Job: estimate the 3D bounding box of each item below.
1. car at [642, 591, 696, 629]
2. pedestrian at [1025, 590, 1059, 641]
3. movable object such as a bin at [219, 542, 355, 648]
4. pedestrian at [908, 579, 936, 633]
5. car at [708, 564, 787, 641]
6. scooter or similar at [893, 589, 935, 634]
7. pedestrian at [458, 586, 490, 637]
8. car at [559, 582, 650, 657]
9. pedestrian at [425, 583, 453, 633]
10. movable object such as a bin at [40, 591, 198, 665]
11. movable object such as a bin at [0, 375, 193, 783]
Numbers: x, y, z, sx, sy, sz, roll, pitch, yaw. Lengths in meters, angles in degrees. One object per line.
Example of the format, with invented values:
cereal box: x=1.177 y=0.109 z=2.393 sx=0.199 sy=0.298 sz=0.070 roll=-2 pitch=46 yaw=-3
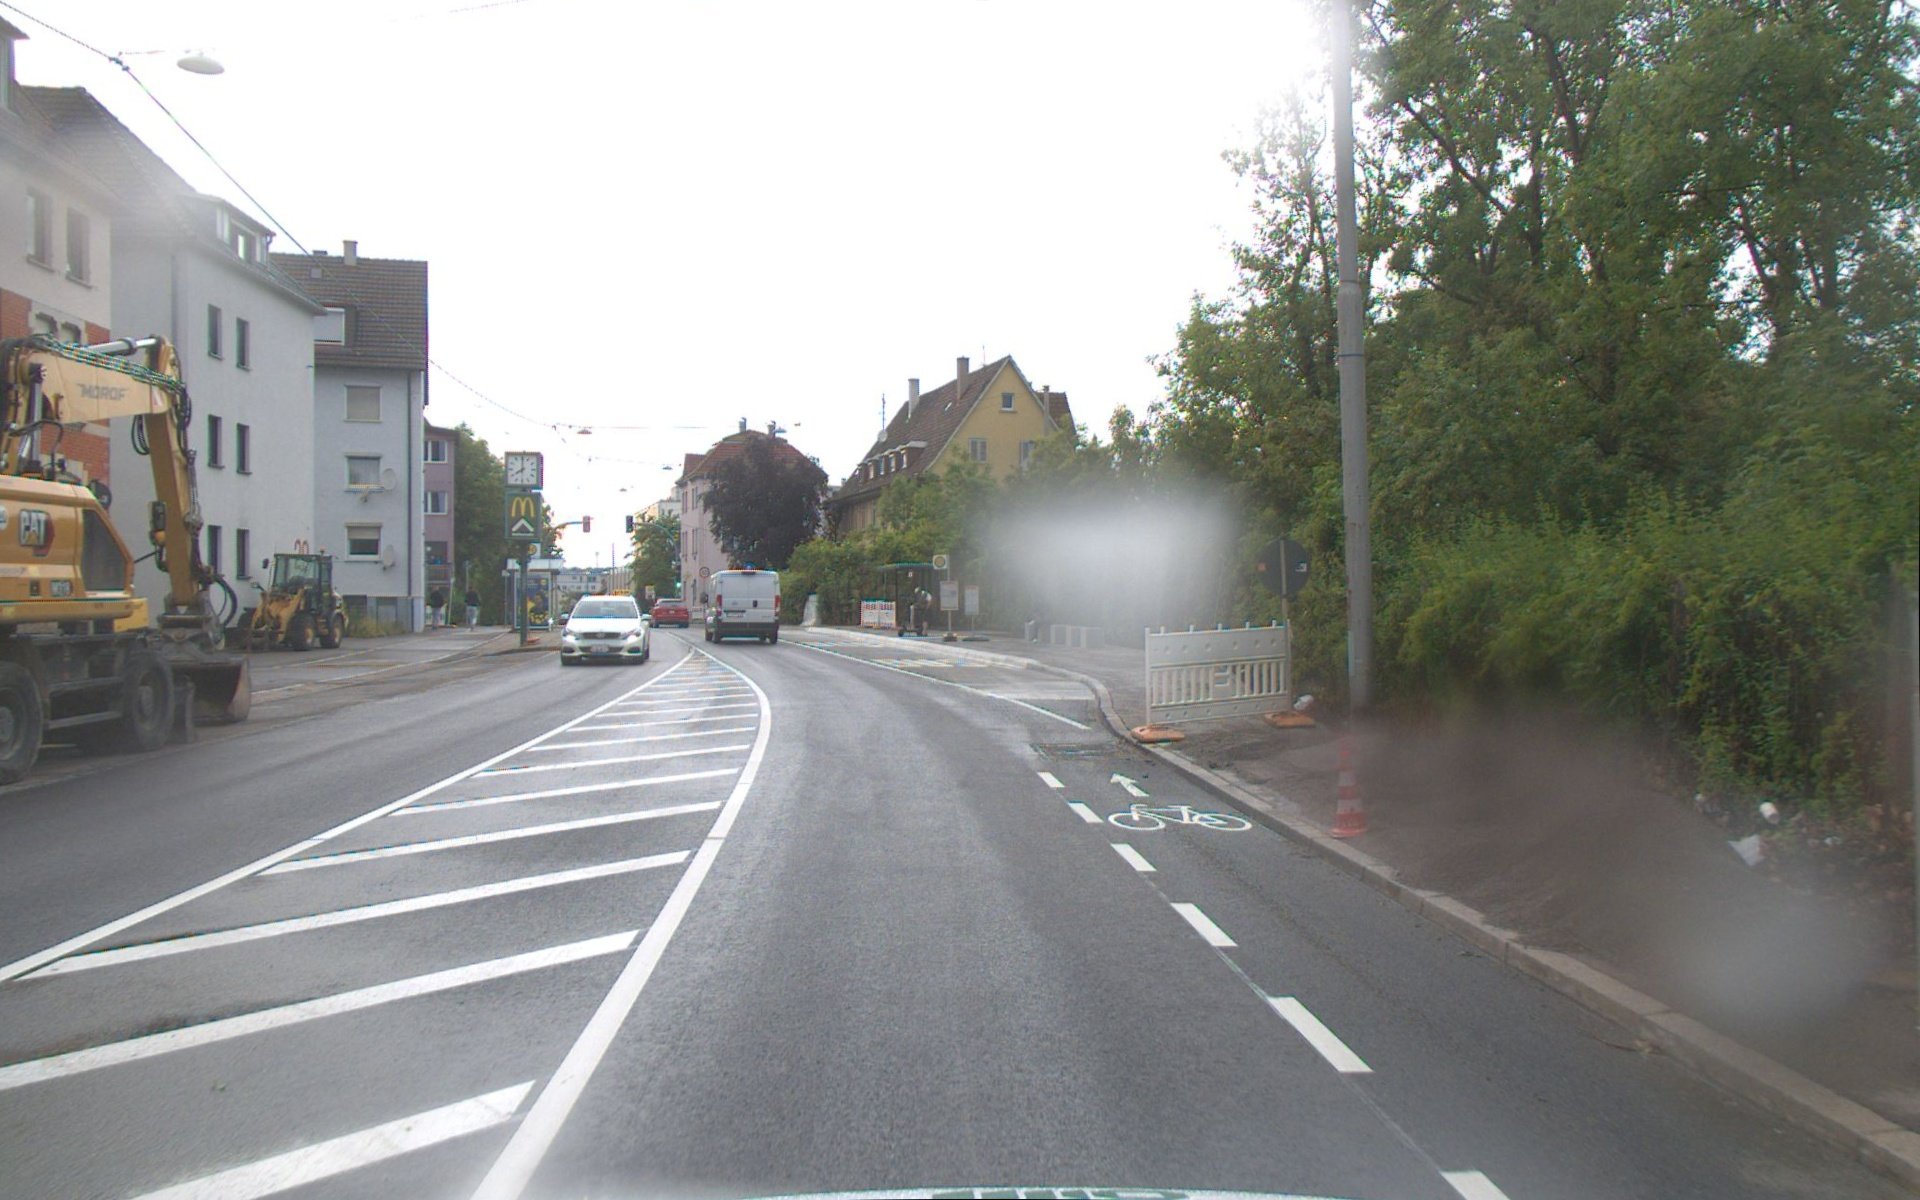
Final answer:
car: x=-14.753 y=0.470 z=83.709 sx=2.201 sy=1.685 sz=4.693 roll=1 pitch=2 yaw=-16
pedestrian: x=2.334 y=0.423 z=47.021 sx=0.861 sy=1.391 sz=1.065 roll=1 pitch=2 yaw=-2
movable object such as a bin: x=-18.364 y=-0.196 z=45.368 sx=1.953 sy=2.729 sz=4.627 roll=1 pitch=2 yaw=-2
pedestrian: x=-1.281 y=0.208 z=55.502 sx=0.887 sy=1.761 sz=0.653 roll=1 pitch=1 yaw=-1
car: x=-6.878 y=0.030 z=53.125 sx=2.197 sy=2.251 sz=4.702 roll=1 pitch=2 yaw=-11
scooter or similar: x=-1.541 y=0.364 z=55.497 sx=0.489 sy=1.430 sz=1.547 roll=2 pitch=4 yaw=41
pedestrian: x=-20.177 y=0.466 z=68.676 sx=1.185 sy=2.048 sz=1.049 roll=1 pitch=1 yaw=-12
car: x=-8.126 y=0.458 z=38.030 sx=1.894 sy=1.583 sz=4.607 roll=1 pitch=-1 yaw=-11
pedestrian: x=-21.863 y=0.317 z=69.448 sx=1.062 sy=2.048 sz=1.047 roll=1 pitch=2 yaw=-17
movable object such as a bin: x=-17.030 y=0.577 z=33.674 sx=1.524 sy=1.378 sz=3.994 roll=1 pitch=-1 yaw=-7
movable object such as a bin: x=-9.086 y=-0.182 z=14.558 sx=2.814 sy=3.229 sz=4.123 roll=1 pitch=0 yaw=-3
